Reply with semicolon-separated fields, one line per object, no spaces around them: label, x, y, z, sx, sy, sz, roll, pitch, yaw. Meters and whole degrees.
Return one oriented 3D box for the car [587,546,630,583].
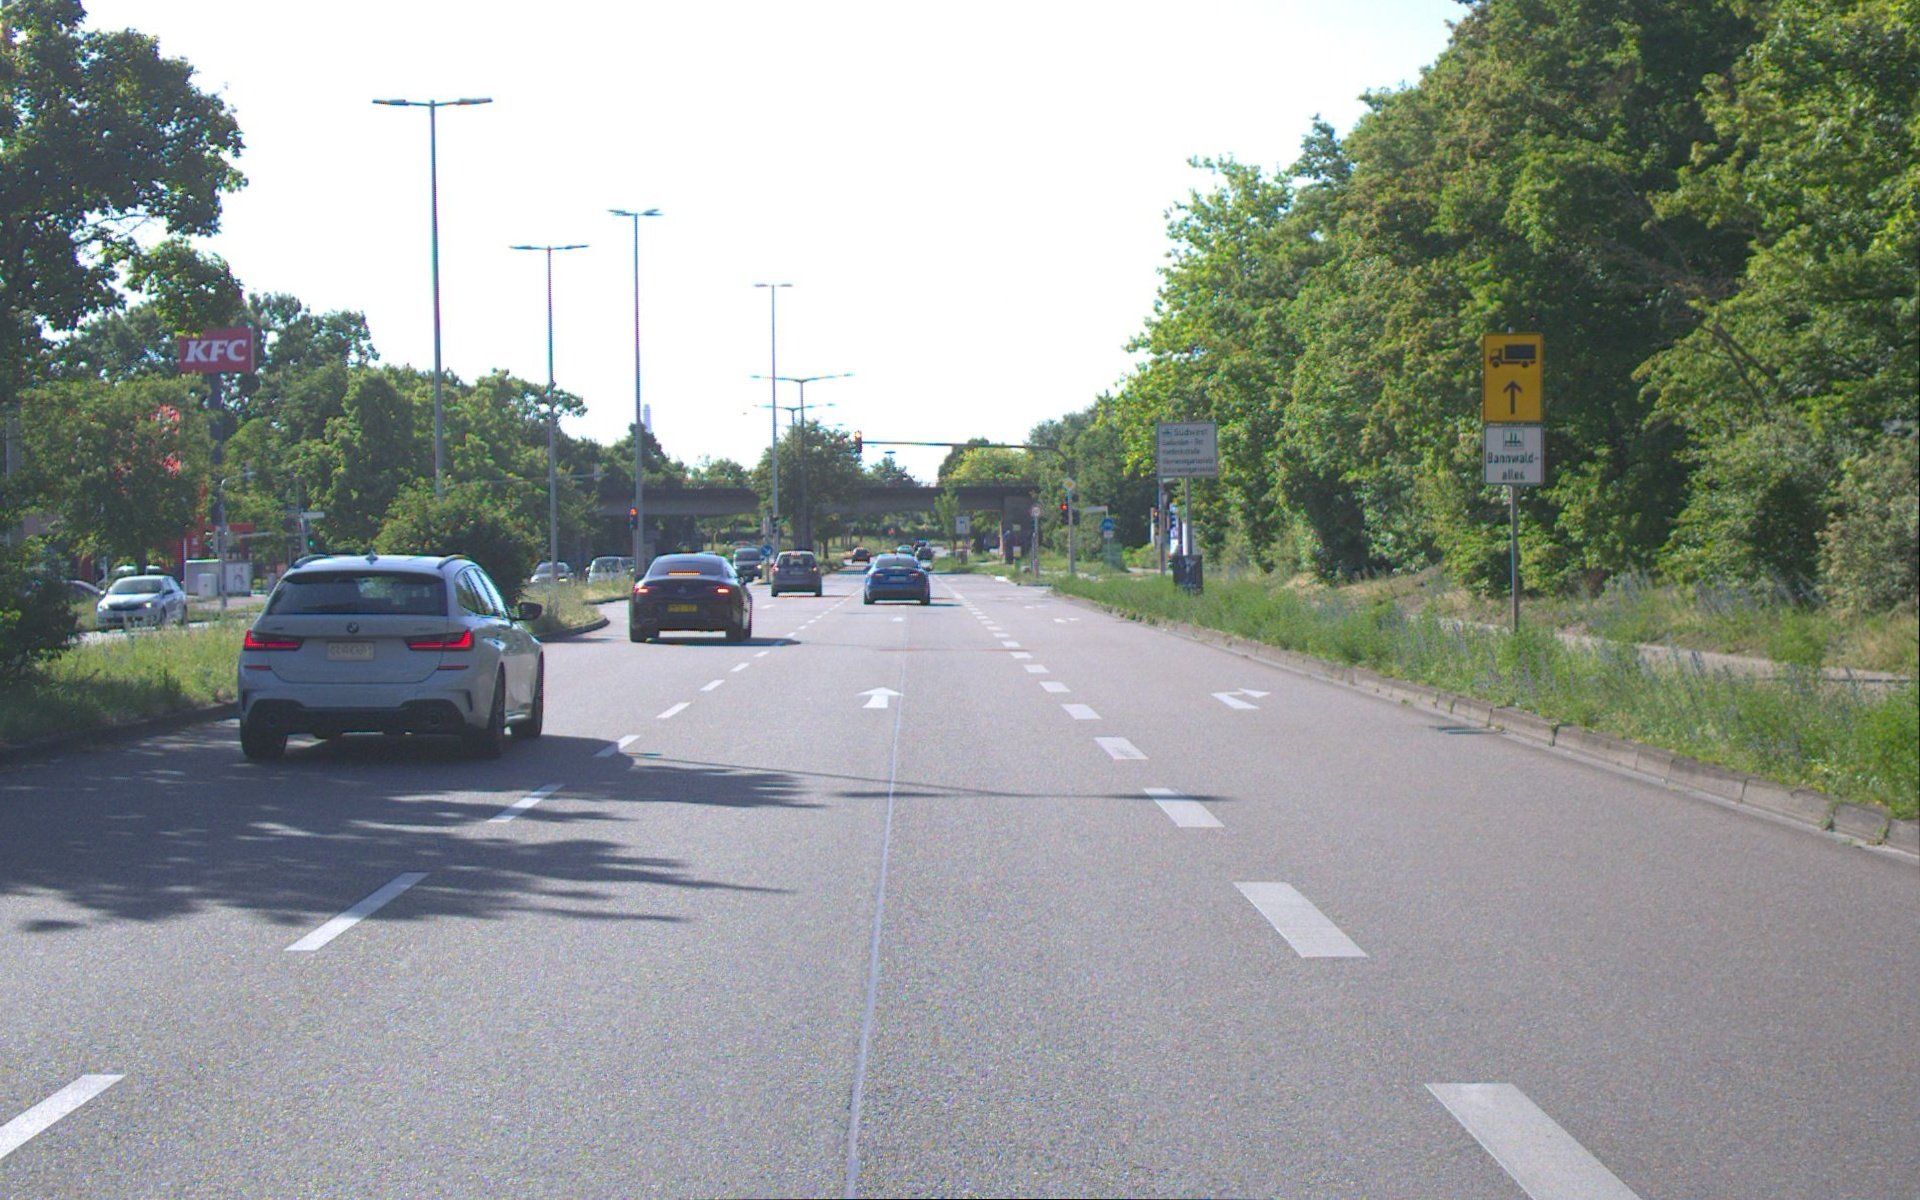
car;-14.648;-1.472;143.384;1.493;1.503;3.487;-1;1;-1

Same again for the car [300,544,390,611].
car;-18.034;-0.679;100.963;1.739;1.796;4.671;-4;1;0

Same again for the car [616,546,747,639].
car;-4.606;-0.150;57.459;1.861;1.450;4.548;-1;1;-1

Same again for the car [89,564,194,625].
car;-21.459;-0.168;90.285;1.739;1.450;4.209;-3;1;-1

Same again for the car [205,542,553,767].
car;-4.207;0.330;25.581;1.861;1.450;4.548;1;1;-1

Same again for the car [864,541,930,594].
car;-1.840;-0.970;100.546;1.861;1.494;4.337;-1;1;-1

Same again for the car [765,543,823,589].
car;-5.813;-1.205;120.819;1.861;1.560;4.548;0;1;-1
